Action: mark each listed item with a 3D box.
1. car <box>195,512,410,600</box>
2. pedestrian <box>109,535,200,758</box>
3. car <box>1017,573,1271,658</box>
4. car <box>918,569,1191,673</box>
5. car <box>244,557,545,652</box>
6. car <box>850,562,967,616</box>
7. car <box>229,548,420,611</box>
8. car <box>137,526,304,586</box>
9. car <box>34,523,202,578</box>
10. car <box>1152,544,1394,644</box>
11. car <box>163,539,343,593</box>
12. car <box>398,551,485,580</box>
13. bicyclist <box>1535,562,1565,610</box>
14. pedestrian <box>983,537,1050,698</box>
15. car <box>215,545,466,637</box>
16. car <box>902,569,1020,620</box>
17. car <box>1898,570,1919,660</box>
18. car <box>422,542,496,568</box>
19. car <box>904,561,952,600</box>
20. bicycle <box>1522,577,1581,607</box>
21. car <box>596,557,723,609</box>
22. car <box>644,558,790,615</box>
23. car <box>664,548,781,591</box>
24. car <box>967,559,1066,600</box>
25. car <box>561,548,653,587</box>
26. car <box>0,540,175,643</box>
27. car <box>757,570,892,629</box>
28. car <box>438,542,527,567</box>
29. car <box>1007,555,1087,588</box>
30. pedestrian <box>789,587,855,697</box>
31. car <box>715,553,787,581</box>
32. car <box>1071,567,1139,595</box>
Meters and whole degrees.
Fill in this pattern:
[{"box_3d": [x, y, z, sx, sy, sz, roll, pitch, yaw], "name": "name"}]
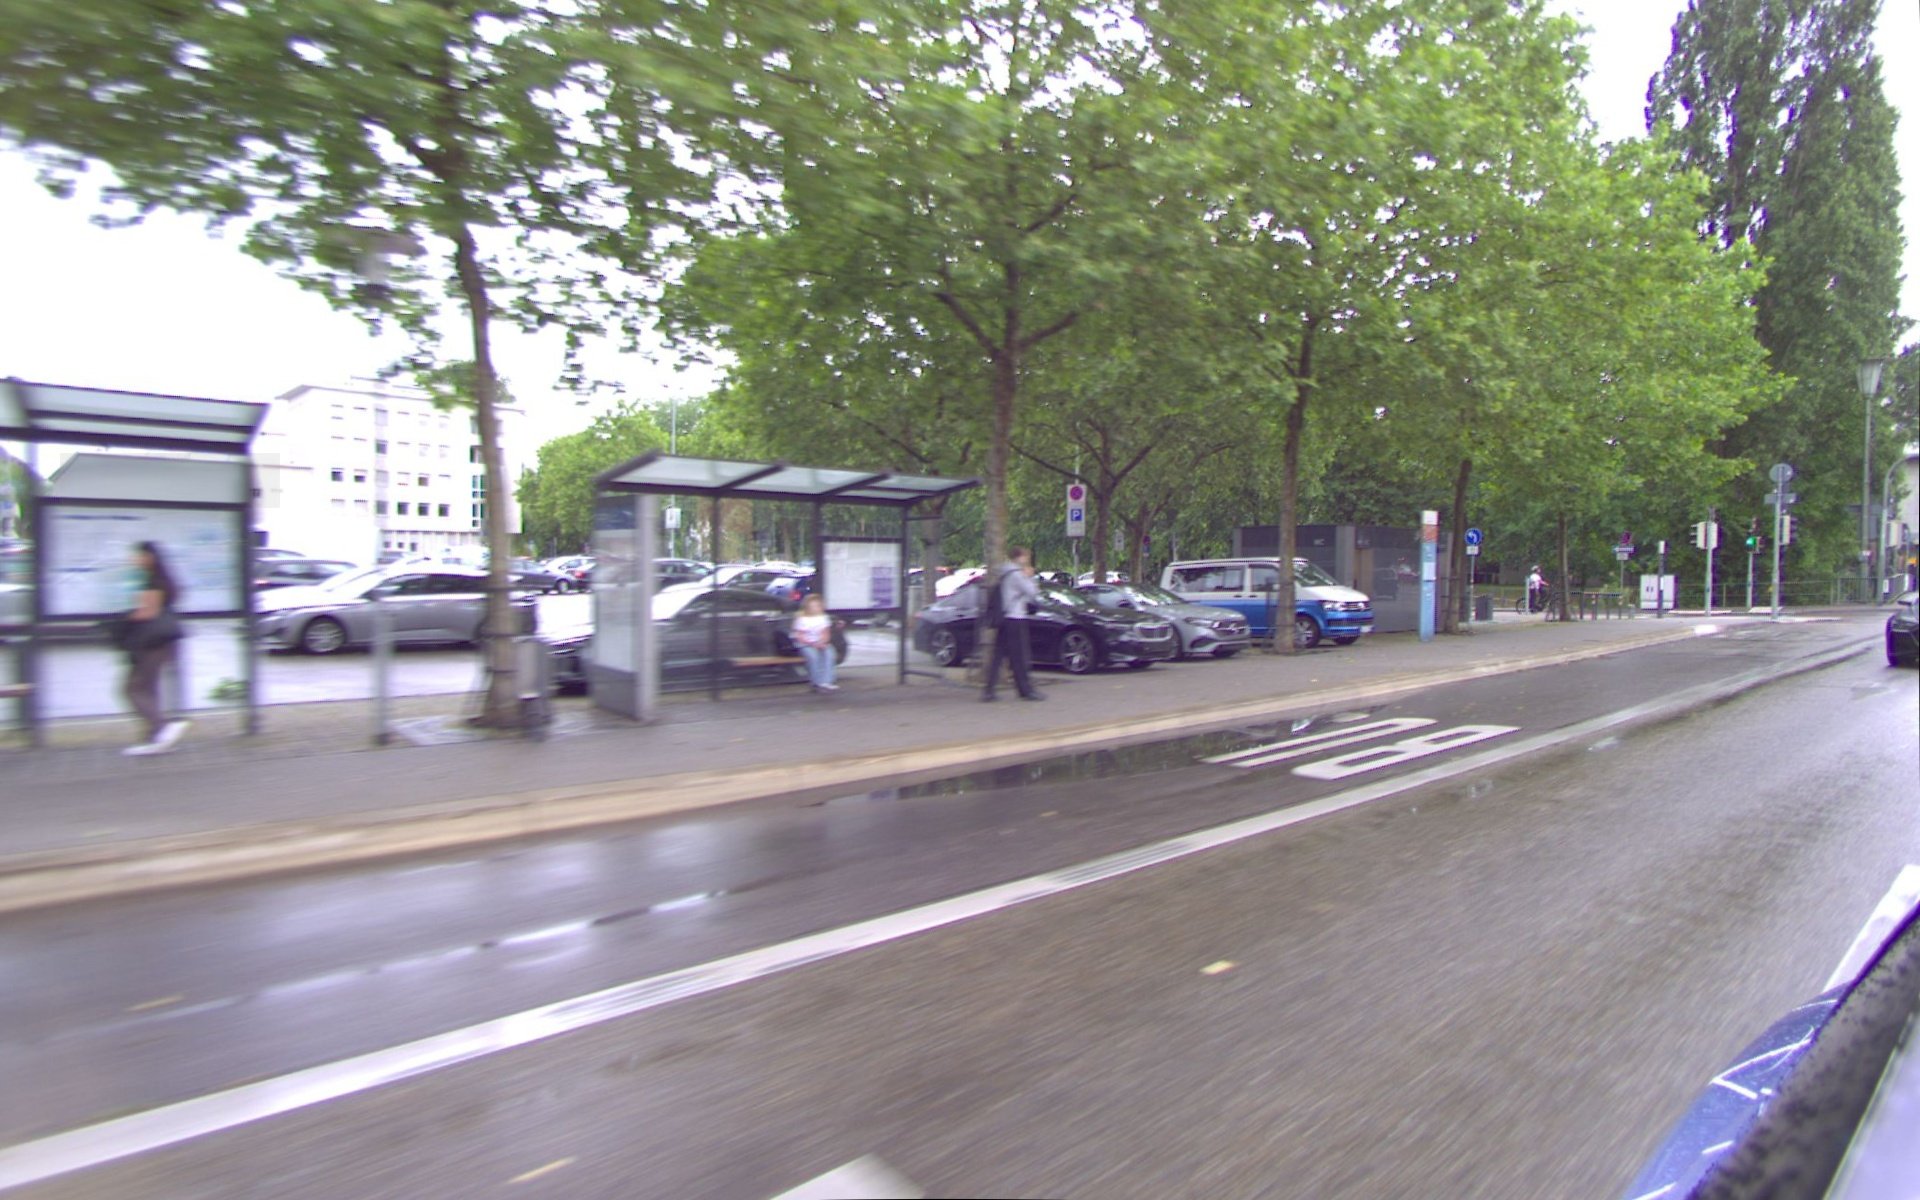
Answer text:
[{"box_3d": [-19.089, -1.217, 29.574, 1.967, 2.348, 4.935, 4, 2, 43], "name": "car"}, {"box_3d": [-6.489, 0.348, 8.155, 0.545, 1.716, 0.540, 1, 1, -40], "name": "pedestrian"}, {"box_3d": [3.393, 0.288, 19.546, 1.830, 1.423, 4.747, -2, 0, -40], "name": "car"}, {"box_3d": [1.461, 0.315, 17.003, 4.401, 1.503, 1.834, -1, 1, 45], "name": "car"}, {"box_3d": [-9.944, 0.054, 18.027, 4.372, 1.458, 1.735, 0, 3, -45], "name": "car"}, {"box_3d": [-1.636, -0.349, 32.683, 3.549, 1.612, 1.570, 0, 2, -43], "name": "car"}, {"box_3d": [-13.857, -0.431, 22.167, 3.300, 1.251, 1.529, 0, 3, -44], "name": "car"}, {"box_3d": [-24.758, -1.455, 33.980, 1.829, 1.853, 4.294, 4, 2, 44], "name": "car"}, {"box_3d": [-40.204, -2.333, 48.477, 2.225, 2.388, 5.950, 4, 2, 43], "name": "car"}, {"box_3d": [6.789, -0.095, 22.427, 1.916, 1.967, 4.844, -2, 0, -40], "name": "car"}, {"box_3d": [-17.970, -0.850, 25.803, 3.573, 1.251, 1.529, 0, 3, -44], "name": "car"}, {"box_3d": [-24.157, -1.602, 47.229, 1.525, 1.251, 3.309, 4, 2, 38], "name": "car"}, {"box_3d": [22.498, -0.536, 38.596, 0.980, 1.792, 0.788, 1, 2, 31], "name": "bicyclist"}, {"box_3d": [0.665, 0.199, 12.164, 0.743, 1.864, 0.734, -1, 1, 1], "name": "pedestrian"}, {"box_3d": [-12.140, -0.194, 19.986, 3.934, 1.610, 1.759, 0, 2, -44], "name": "car"}, {"box_3d": [0.073, -0.173, 31.372, 1.527, 1.445, 3.779, 4, 2, 41], "name": "car"}, {"box_3d": [17.343, 0.218, 16.818, 4.281, 1.422, 1.897, -1, 1, -37], "name": "car"}, {"box_3d": [-31.396, -2.818, 63.516, 1.635, 1.566, 3.868, 1, 2, 44], "name": "car"}, {"box_3d": [-1.467, -0.886, 44.481, 1.718, 1.601, 4.007, 0, 2, -7], "name": "car"}, {"box_3d": [22.520, -0.326, 38.587, 1.918, 1.108, 0.643, 1, 2, 31], "name": "bicycle"}, {"box_3d": [-9.575, -0.538, 32.354, 3.573, 1.523, 1.529, 0, 2, -44], "name": "car"}, {"box_3d": [-7.325, -0.406, 30.690, 3.981, 1.584, 1.617, 1, 2, -40], "name": "car"}, {"box_3d": [-10.161, -1.276, 43.484, 1.967, 1.690, 4.559, 4, 2, 43], "name": "car"}, {"box_3d": [2.478, -0.909, 43.716, 4.372, 1.709, 1.778, -2, 2, -44], "name": "car"}, {"box_3d": [-15.747, -1.431, 45.196, 3.550, 1.612, 1.530, 0, 2, -43], "name": "car"}, {"box_3d": [-15.679, -0.174, 16.730, 4.108, 1.610, 1.759, 0, 2, -44], "name": "car"}, {"box_3d": [-3.609, -0.066, 27.299, 1.636, 1.439, 3.302, 1, 3, 44], "name": "car"}, {"box_3d": [-27.982, -2.649, 59.378, 1.635, 1.441, 4.438, 1, 2, 44], "name": "car"}, {"box_3d": [4.267, -1.403, 49.215, 3.817, 1.525, 1.778, -2, 2, -43], "name": "car"}, {"box_3d": [-1.753, 0.508, 12.817, 0.613, 1.338, 0.634, -2, 1, -29], "name": "pedestrian"}, {"box_3d": [-11.360, -1.800, 55.062, 3.539, 1.441, 1.636, -2, 2, -44], "name": "car"}, {"box_3d": [8.357, -1.121, 58.526, 3.817, 1.481, 1.444, 3, 3, 44], "name": "car"}]
